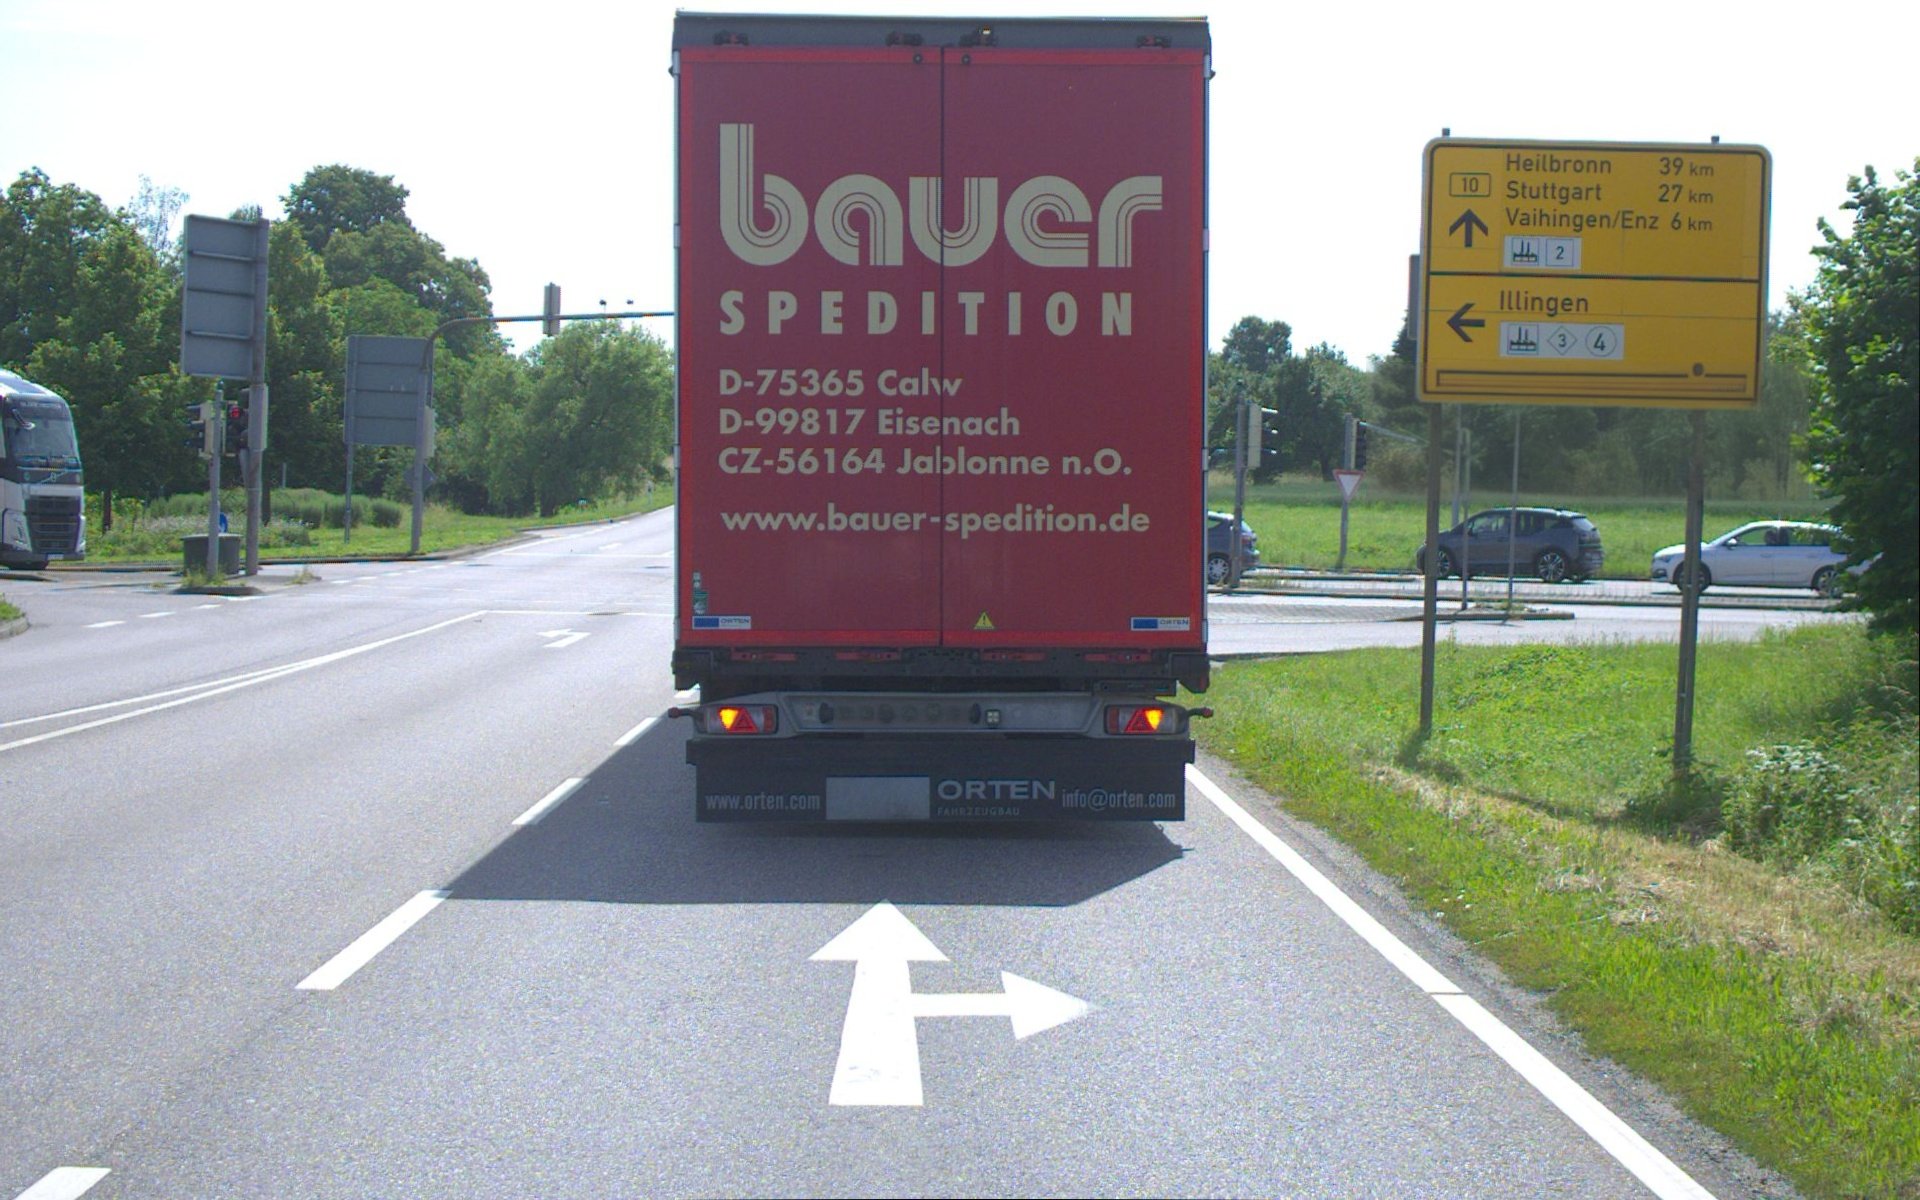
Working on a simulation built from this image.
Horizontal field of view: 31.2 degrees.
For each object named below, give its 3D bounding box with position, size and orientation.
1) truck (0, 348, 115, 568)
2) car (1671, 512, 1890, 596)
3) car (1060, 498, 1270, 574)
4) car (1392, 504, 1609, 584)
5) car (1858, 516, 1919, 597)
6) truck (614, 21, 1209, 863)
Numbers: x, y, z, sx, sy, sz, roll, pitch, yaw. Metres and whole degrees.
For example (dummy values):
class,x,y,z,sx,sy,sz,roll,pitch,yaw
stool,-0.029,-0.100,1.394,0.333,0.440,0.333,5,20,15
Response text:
class,x,y,z,sx,sy,sz,roll,pitch,yaw
truck,-19.467,-2.755,65.613,5.830,4.047,2.797,2,2,14
car,16.122,-0.906,67.528,4.102,1.542,1.872,1,1,15
car,4.204,-1.304,70.261,3.989,1.424,1.999,2,1,13
car,11.633,-1.213,74.083,4.282,1.650,1.696,2,1,33
car,20.330,-0.868,70.198,3.829,1.628,1.760,1,1,14
truck,-0.440,-0.983,24.470,2.734,3.911,16.628,1,2,-1
